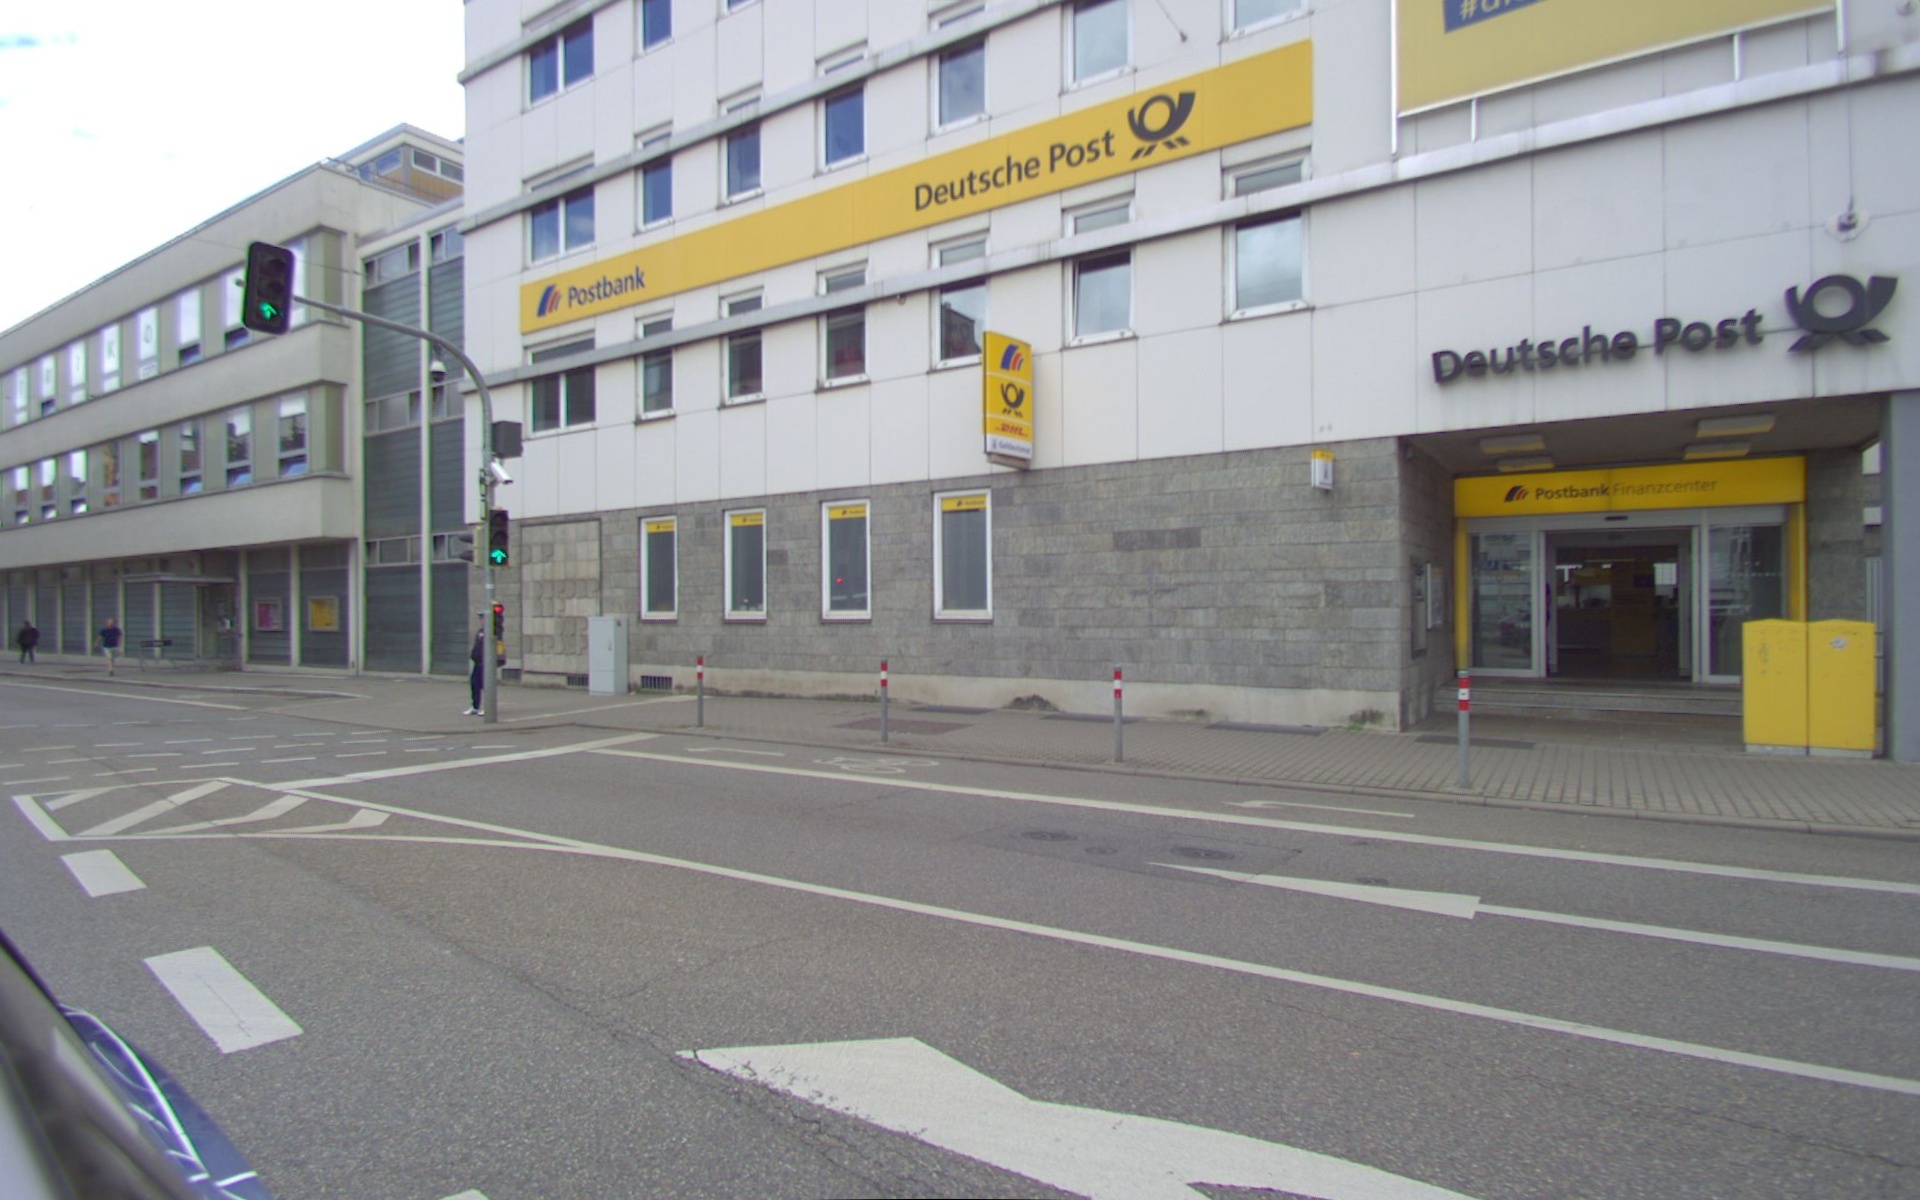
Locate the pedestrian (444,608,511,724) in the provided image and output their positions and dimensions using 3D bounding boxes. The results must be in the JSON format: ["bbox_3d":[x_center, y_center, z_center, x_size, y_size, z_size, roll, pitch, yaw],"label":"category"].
[{"bbox_3d":[-7.552,1.012,15.841,0.782,1.731,0.641,-2,0,41],"label":"pedestrian"}]

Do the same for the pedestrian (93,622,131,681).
[{"bbox_3d":[-25.430,1.530,30.355,1.052,1.731,0.585,-2,-2,32],"label":"pedestrian"}]

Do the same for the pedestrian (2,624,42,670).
[{"bbox_3d":[-36.115,1.805,38.956,1.028,1.731,0.855,-2,0,32],"label":"pedestrian"}]
